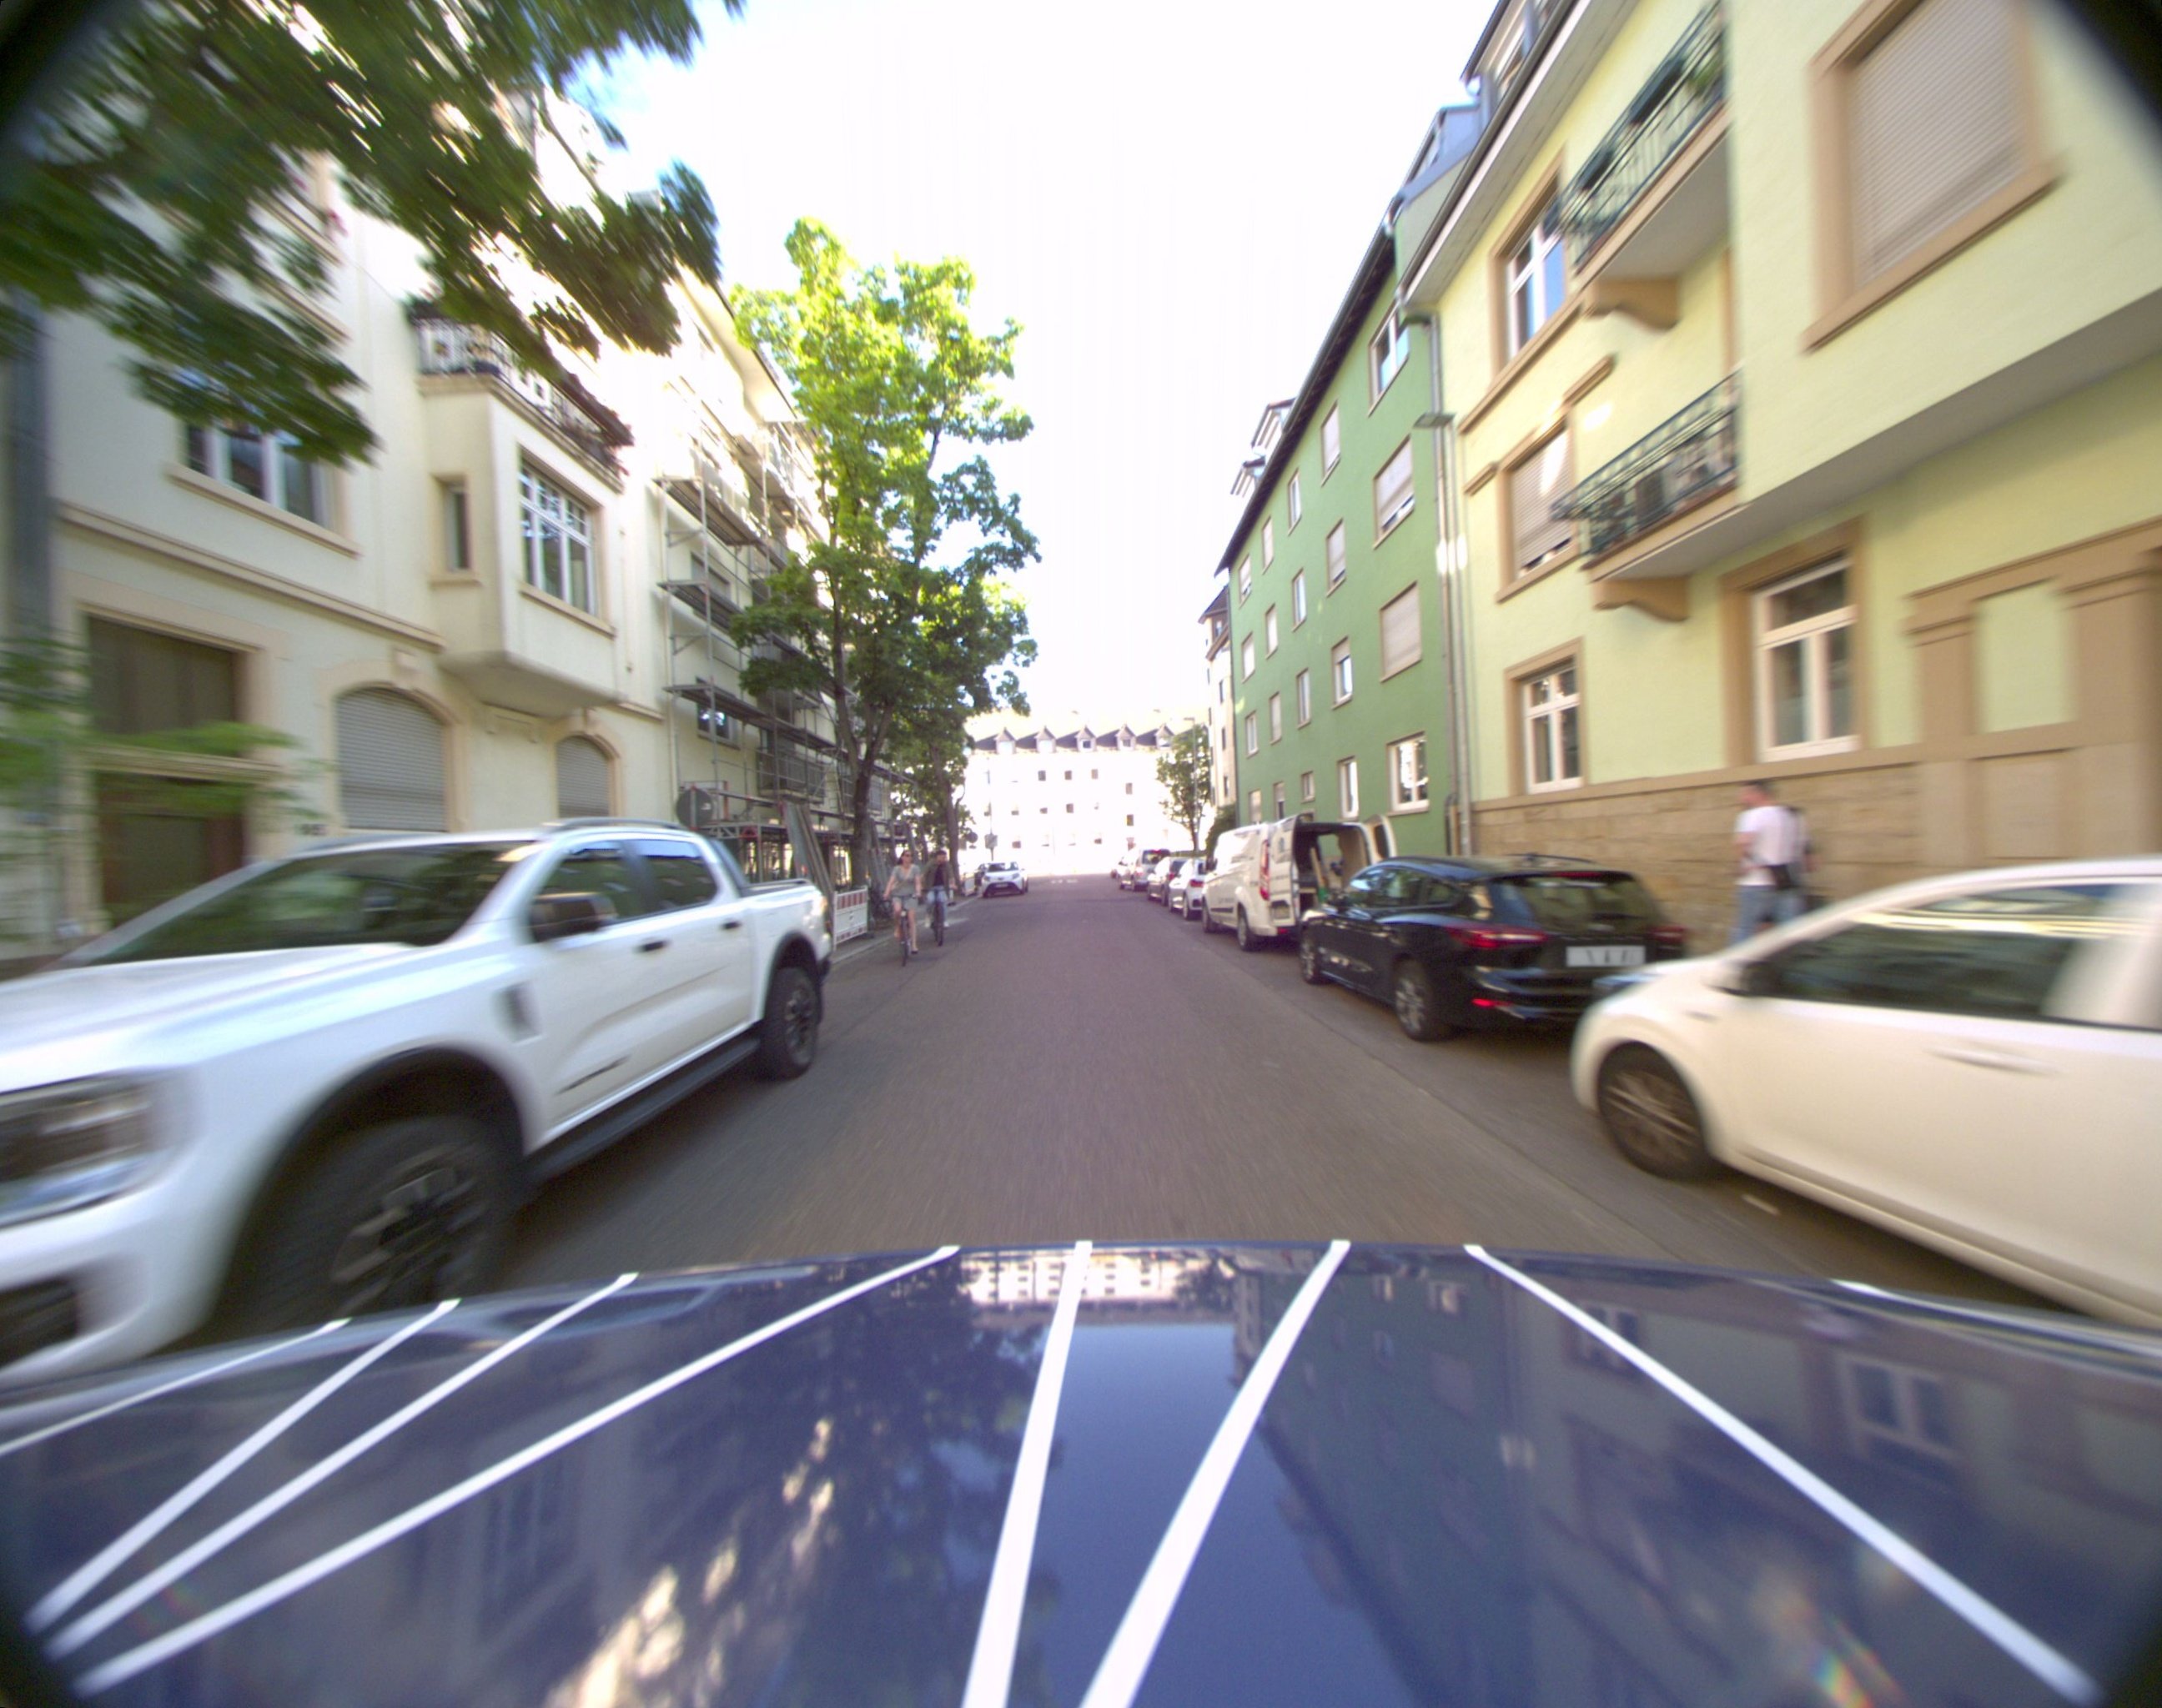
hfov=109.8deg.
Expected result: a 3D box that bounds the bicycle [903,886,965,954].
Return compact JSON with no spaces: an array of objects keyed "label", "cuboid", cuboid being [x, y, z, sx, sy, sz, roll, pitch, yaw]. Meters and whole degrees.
[{"label":"bicycle","cuboid":[-2.797,1.232,14.645,0.741,1.054,1.857,-4,1,1]}]

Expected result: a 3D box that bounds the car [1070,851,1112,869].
[{"label":"car","cuboid":[0.882,0.513,69.595,3.613,1.440,1.553,-3,2,-9]}]

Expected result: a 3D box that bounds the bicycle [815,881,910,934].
[{"label":"bicycle","cuboid":[-5.178,1.261,18.038,1.980,1.115,0.748,-3,1,10]}]

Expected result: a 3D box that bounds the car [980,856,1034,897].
[{"label":"car","cuboid":[-3.146,0.932,32.924,1.807,1.527,3.964,-4,0,1]}]

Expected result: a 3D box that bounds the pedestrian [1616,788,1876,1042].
[{"label":"pedestrian","cuboid":[5.415,0.456,6.301,0.995,1.850,1.243,-3,1,-1]}]

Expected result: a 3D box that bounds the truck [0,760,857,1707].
[{"label":"truck","cuboid":[-2.966,0.821,4.027,1.833,1.938,5.540,-3,0,0]}]

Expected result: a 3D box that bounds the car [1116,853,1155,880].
[{"label":"car","cuboid":[3.019,0.661,42.889,1.771,1.444,4.206,0,0,-1]}]

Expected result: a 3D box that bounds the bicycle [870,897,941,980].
[{"label":"bicycle","cuboid":[-2.779,1.305,12.216,0.708,1.039,1.857,-6,1,-4]}]

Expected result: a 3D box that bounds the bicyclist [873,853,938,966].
[{"label":"bicyclist","cuboid":[-2.801,0.854,12.208,0.716,1.679,0.981,-5,1,-4]}]

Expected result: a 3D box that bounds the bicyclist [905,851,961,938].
[{"label":"bicyclist","cuboid":[-2.822,0.753,14.615,0.757,1.556,0.981,-4,1,1]}]

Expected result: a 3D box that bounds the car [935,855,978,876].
[{"label":"car","cuboid":[-11.089,1.015,67.912,3.706,1.598,1.648,-4,1,-8]}]

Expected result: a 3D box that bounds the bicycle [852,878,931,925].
[{"label":"bicycle","cuboid":[-4.867,1.212,19.491,1.924,1.115,0.749,-3,1,29]}]

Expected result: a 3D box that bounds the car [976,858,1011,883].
[{"label":"car","cuboid":[-5.264,0.970,46.051,1.665,1.399,4.506,0,0,-1]}]

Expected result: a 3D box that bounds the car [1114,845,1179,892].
[{"label":"car","cuboid":[2.705,0.530,32.279,1.777,1.832,4.411,-1,1,-9]}]

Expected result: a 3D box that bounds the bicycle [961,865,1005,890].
[{"label":"bicycle","cuboid":[-4.605,1.120,35.792,1.973,1.148,0.751,1,1,-15]}]

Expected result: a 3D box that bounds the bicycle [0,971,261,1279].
[{"label":"bicycle","cuboid":[-5.312,1.315,3.755,1.763,1.297,0.586,-3,1,-2]}]

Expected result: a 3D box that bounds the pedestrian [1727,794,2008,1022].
[{"label":"pedestrian","cuboid":[6.439,0.401,6.328,0.995,1.665,1.243,-3,1,-1]}]

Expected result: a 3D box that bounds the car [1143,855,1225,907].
[{"label":"car","cuboid":[3.131,0.768,23.937,1.725,1.454,4.505,0,1,-3]}]

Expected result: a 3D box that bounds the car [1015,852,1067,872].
[{"label":"car","cuboid":[-3.650,0.715,68.956,4.493,1.498,1.944,-3,1,-7]}]

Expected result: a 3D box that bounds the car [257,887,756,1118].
[{"label":"car","cuboid":[-5.075,1.164,7.684,1.684,1.414,4.429,-1,0,-1]}]

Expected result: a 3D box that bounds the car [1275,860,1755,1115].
[{"label":"car","cuboid":[3.375,0.864,7.225,1.771,1.512,4.824,-2,0,0]}]

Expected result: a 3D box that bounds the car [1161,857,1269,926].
[{"label":"car","cuboid":[3.180,0.831,18.914,1.838,1.454,4.362,0,1,-1]}]

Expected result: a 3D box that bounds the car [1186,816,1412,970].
[{"label":"car","cuboid":[3.421,0.526,13.272,2.258,2.156,5.241,0,1,-2]}]

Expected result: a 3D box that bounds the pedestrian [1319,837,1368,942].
[{"label":"pedestrian","cuboid":[4.588,0.601,13.317,0.487,1.777,0.845,-3,1,-1]}]

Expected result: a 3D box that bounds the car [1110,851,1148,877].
[{"label":"car","cuboid":[2.988,0.584,48.240,1.724,1.546,4.071,-1,0,-6]}]

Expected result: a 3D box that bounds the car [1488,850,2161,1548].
[{"label":"car","cuboid":[3.278,0.799,2.467,1.639,1.543,4.087,-2,1,-1]}]
